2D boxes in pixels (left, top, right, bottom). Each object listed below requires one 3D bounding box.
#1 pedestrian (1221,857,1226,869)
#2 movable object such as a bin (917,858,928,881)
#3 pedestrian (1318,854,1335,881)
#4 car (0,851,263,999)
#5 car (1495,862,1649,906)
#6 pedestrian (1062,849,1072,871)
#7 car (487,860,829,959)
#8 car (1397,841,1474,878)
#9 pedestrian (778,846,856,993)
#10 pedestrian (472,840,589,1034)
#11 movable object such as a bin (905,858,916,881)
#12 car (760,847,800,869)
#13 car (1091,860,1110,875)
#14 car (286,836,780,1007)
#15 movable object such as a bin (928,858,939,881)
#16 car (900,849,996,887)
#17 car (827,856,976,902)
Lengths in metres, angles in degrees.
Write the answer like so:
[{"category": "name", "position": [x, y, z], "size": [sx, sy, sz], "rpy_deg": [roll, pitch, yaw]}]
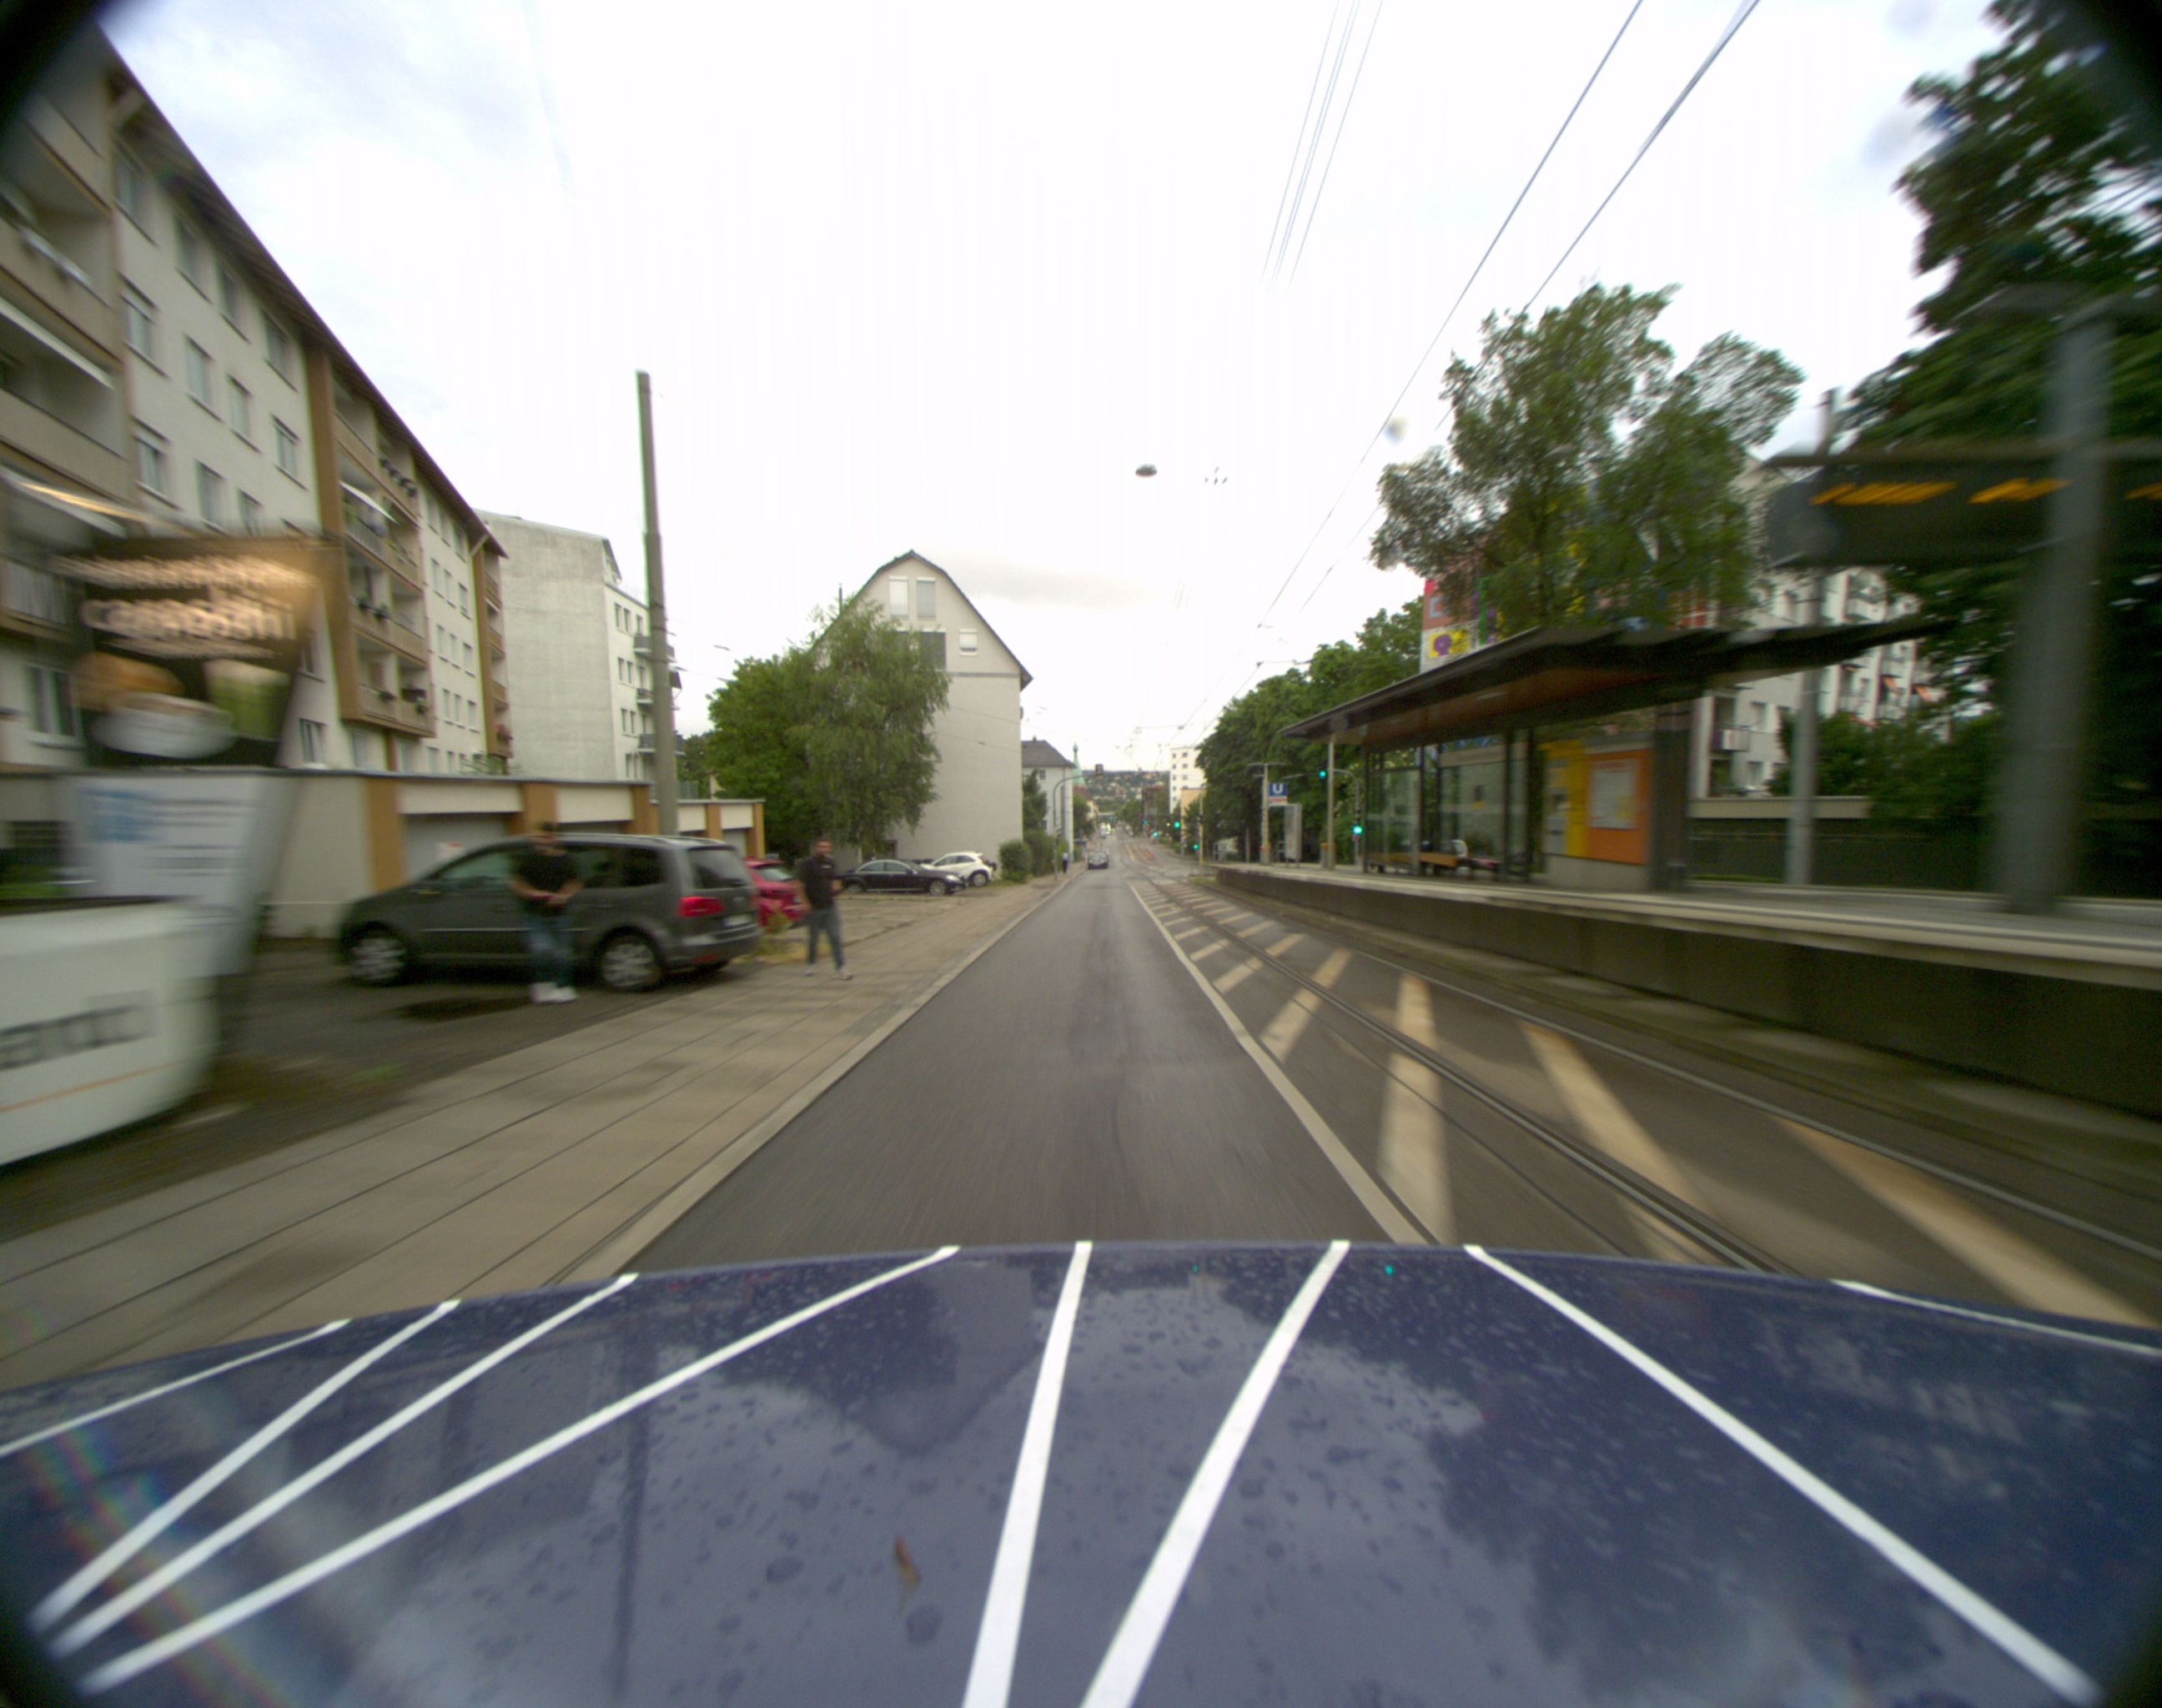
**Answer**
[{"category": "pedestrian", "position": [17.166, 1.068, 91.431], "size": [0.529, 1.418, 0.529], "rpy_deg": [-2, 0, 4]}, {"category": "movable object such as a bin", "position": [-7.890, 0.757, 37.753], "size": [0.517, 1.105, 0.642], "rpy_deg": [-1, 0, -11]}, {"category": "pedestrian", "position": [14.678, 0.826, 45.458], "size": [0.754, 1.584, 0.618], "rpy_deg": [-2, 0, 4]}, {"category": "car", "position": [-12.510, 0.714, 8.670], "size": [4.522, 1.394, 1.780], "rpy_deg": [1, 3, 3]}, {"category": "car", "position": [17.924, 1.065, 28.033], "size": [4.483, 1.533, 1.948], "rpy_deg": [-1, 0, 22]}, {"category": "pedestrian", "position": [-1.005, 0.424, 54.136], "size": [0.657, 1.611, 0.630], "rpy_deg": [0, 0, 7]}, {"category": "car", "position": [-6.694, 0.847, 12.351], "size": [4.580, 1.429, 1.765], "rpy_deg": [1, 0, 1]}, {"category": "car", "position": [17.526, 0.282, 37.803], "size": [1.751, 1.706, 4.442], "rpy_deg": [0, 0, 0]}, {"category": "pedestrian", "position": [-3.166, 0.771, 9.155], "size": [0.721, 1.704, 0.608], "rpy_deg": [1, 0, -5]}, {"category": "pedestrian", "position": [-5.110, 0.740, 7.086], "size": [0.580, 1.704, 0.614], "rpy_deg": [-2, 0, -2]}, {"category": "movable object such as a bin", "position": [-8.457, 0.777, 37.643], "size": [0.517, 1.105, 0.642], "rpy_deg": [-1, 0, -11]}, {"category": "car", "position": [-19.815, 0.287, 50.086], "size": [1.655, 1.329, 3.836], "rpy_deg": [-2, 0, -10]}, {"category": "car", "position": [1.950, 1.336, 74.312], "size": [1.725, 1.350, 4.001], "rpy_deg": [-1, 0, 3]}, {"category": "car", "position": [-5.946, 0.692, 8.590], "size": [4.338, 1.664, 1.781], "rpy_deg": [1, -1, 3]}, {"category": "movable object such as a bin", "position": [-7.371, 0.758, 37.874], "size": [0.517, 1.105, 0.642], "rpy_deg": [-1, 0, -11]}, {"category": "car", "position": [-5.862, 0.598, 33.984], "size": [3.998, 1.459, 1.814], "rpy_deg": [-1, 6, -3]}, {"category": "car", "position": [-6.564, 0.896, 28.122], "size": [4.943, 1.428, 1.974], "rpy_deg": [-2, 1, 2]}]
